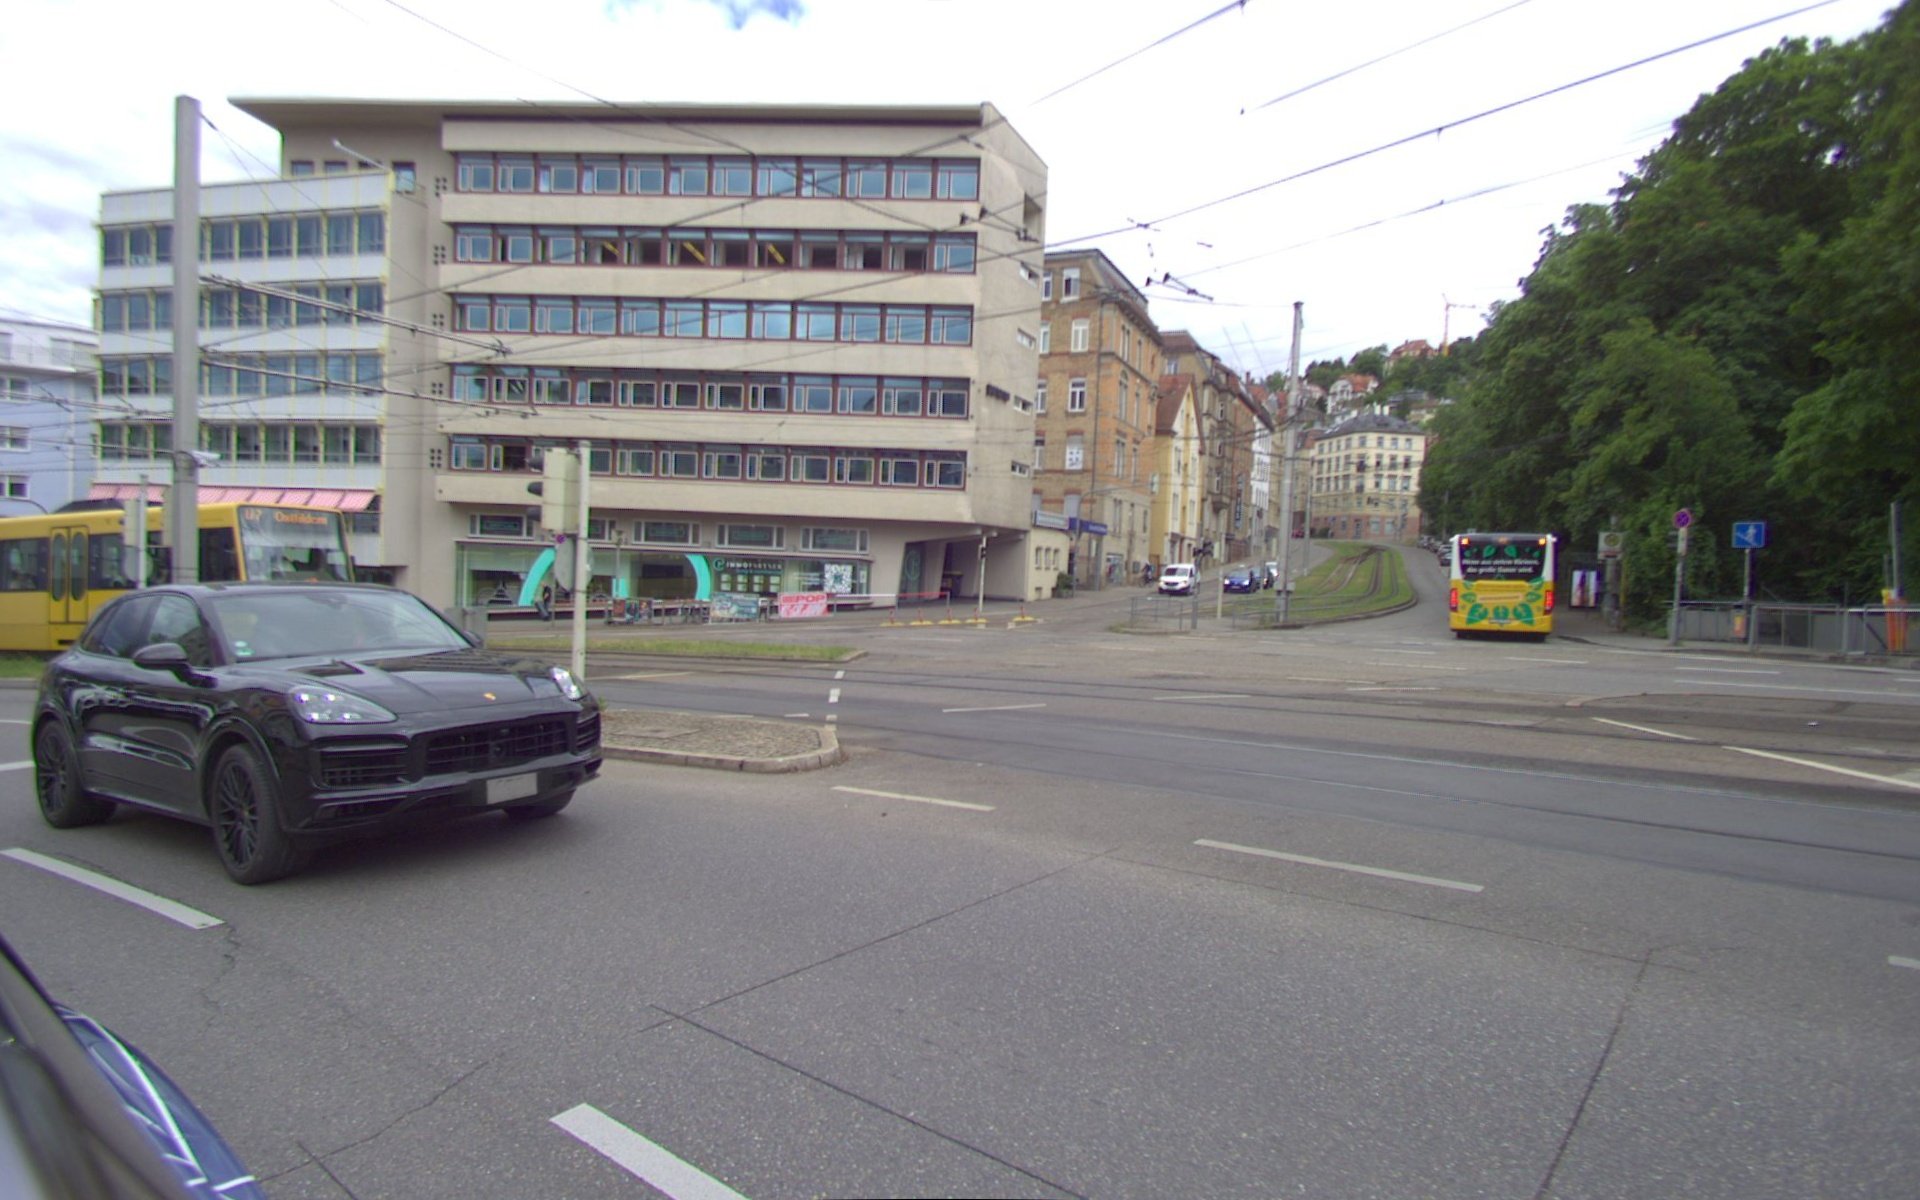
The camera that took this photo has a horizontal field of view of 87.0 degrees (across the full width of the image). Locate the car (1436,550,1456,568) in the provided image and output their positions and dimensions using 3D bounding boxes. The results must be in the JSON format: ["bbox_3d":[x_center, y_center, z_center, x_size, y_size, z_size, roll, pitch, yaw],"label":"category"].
[{"bbox_3d":[53.810,-4.531,112.021,1.989,1.851,3.965,-1,1,26],"label":"car"}]

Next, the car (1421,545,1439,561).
[{"bbox_3d":[58.808,-5.911,126.532,1.989,1.851,3.965,-1,1,26],"label":"car"}]

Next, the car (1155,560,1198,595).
[{"bbox_3d":[13.108,-1.377,61.135,1.986,2.028,3.972,0,2,21],"label":"car"}]

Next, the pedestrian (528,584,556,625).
[{"bbox_3d":[-17.977,0.196,43.537,0.775,1.720,0.759,-1,1,8],"label":"pedestrian"}]

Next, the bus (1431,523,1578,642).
[{"bbox_3d":[16.982,-0.512,31.702,3.375,3.052,11.438,-1,0,28],"label":"bus"}]

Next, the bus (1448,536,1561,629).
[{"bbox_3d":[20.949,-0.642,38.922,3.310,3.066,11.251,-1,0,29],"label":"bus"}]

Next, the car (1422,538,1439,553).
[{"bbox_3d":[63.198,-7.292,135.778,1.989,1.851,3.965,-1,1,26],"label":"car"}]

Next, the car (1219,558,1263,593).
[{"bbox_3d":[17.849,-1.574,64.203,1.989,2.028,3.967,-1,3,25],"label":"car"}]

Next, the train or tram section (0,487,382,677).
[{"bbox_3d":[-19.962,-0.307,23.666,14.373,3.691,2.870,0,0,22],"label":"train or tram section"}]

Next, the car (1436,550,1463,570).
[{"bbox_3d":[49.560,-4.025,102.530,2.416,1.851,3.965,-1,1,26],"label":"car"}]

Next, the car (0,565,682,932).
[{"bbox_3d":[-4.327,0.666,6.823,4.764,1.697,2.013,0,2,31],"label":"car"}]
